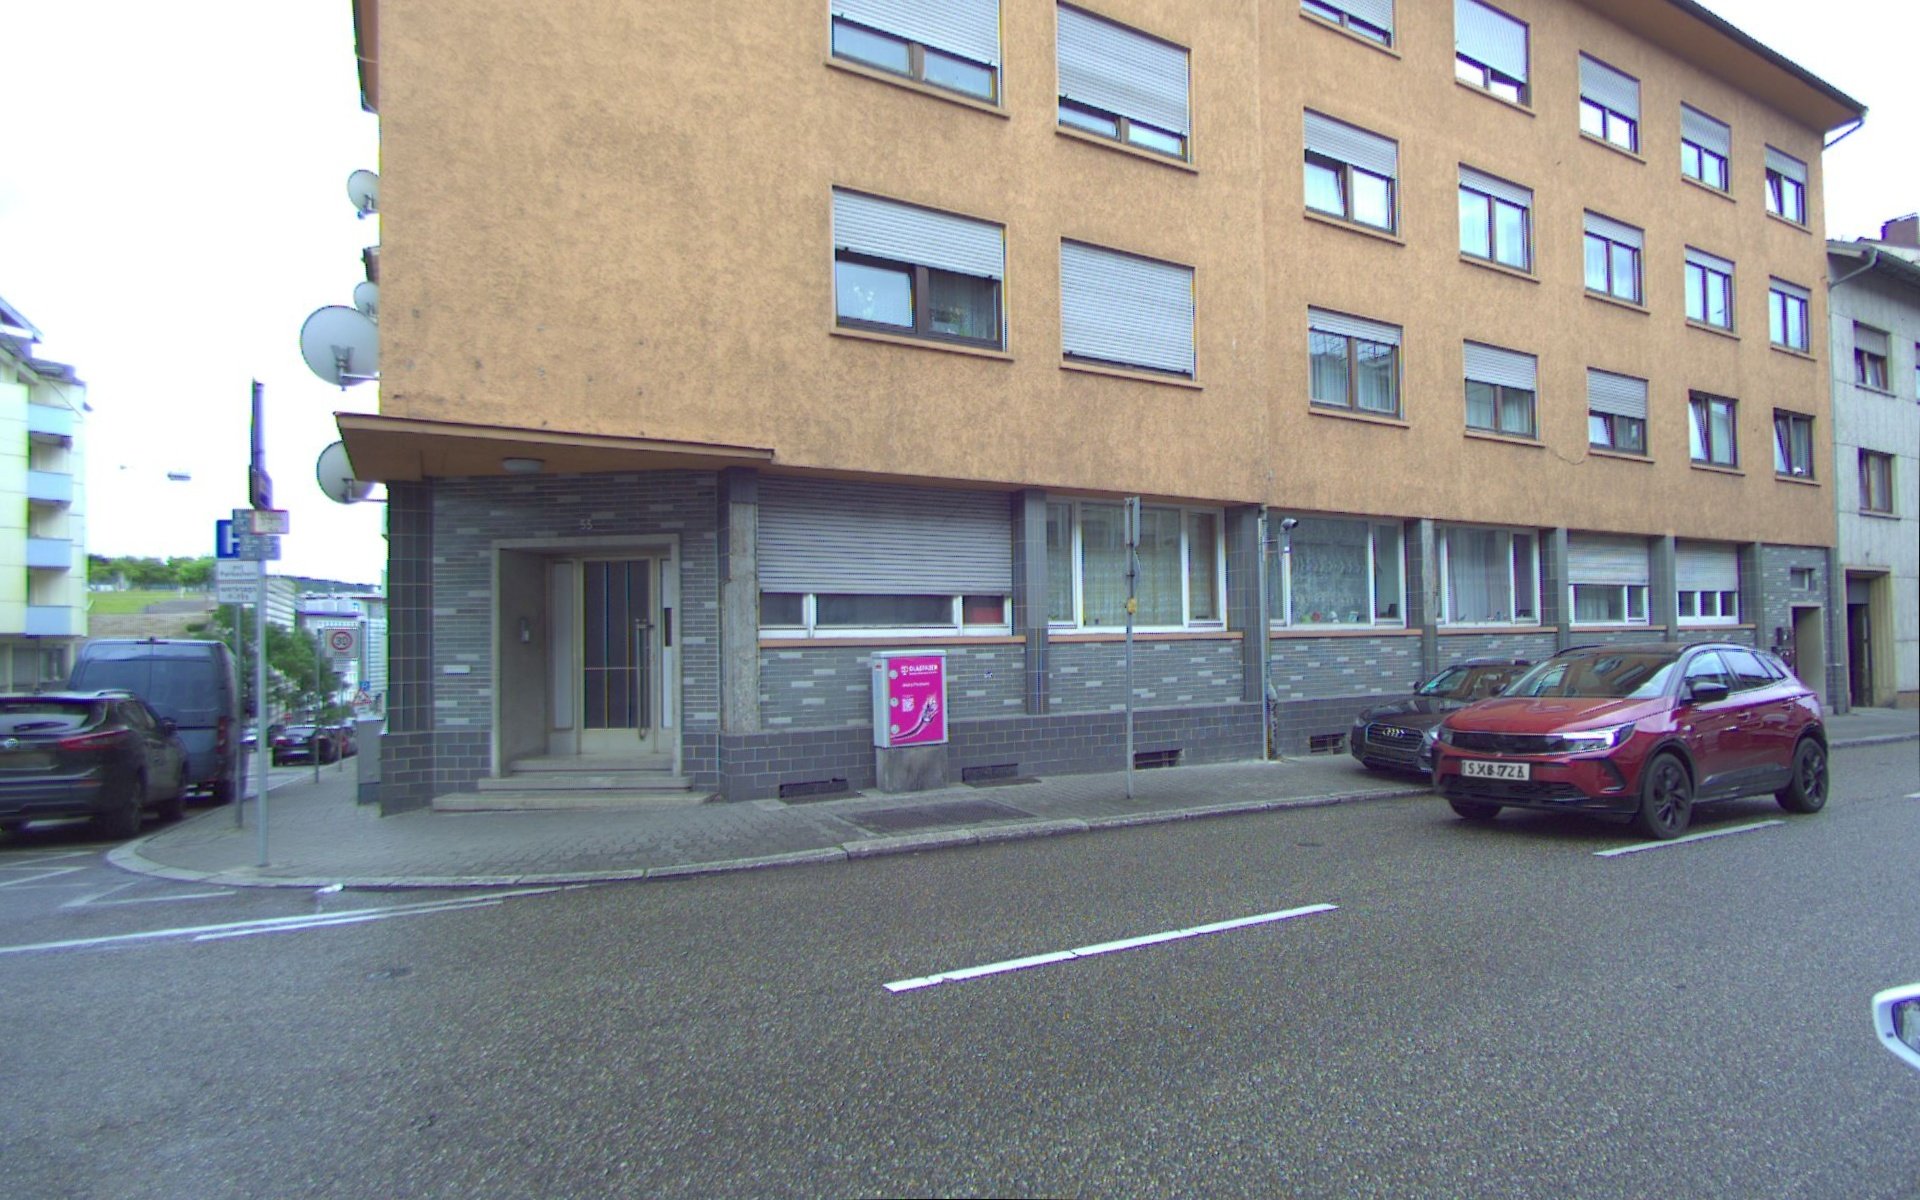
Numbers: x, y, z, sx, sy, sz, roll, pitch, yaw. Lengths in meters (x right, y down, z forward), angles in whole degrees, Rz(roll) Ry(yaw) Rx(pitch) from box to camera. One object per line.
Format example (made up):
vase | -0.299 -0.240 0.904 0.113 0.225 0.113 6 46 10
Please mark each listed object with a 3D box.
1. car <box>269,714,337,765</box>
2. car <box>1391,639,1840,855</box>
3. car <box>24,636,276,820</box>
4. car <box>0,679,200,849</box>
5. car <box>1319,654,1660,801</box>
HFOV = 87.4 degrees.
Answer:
car | -24.367 5.193 37.384 1.796 1.696 4.026 1 -7 -29
car | 6.196 1.201 9.399 4.266 1.605 1.789 1 -4 -31
car | -13.192 2.092 16.872 2.223 2.492 6.017 1 -7 -29
car | -10.155 1.833 11.413 1.820 1.596 4.127 1 -8 -29
car | 6.818 1.489 12.816 4.475 1.457 1.786 1 0 -31
